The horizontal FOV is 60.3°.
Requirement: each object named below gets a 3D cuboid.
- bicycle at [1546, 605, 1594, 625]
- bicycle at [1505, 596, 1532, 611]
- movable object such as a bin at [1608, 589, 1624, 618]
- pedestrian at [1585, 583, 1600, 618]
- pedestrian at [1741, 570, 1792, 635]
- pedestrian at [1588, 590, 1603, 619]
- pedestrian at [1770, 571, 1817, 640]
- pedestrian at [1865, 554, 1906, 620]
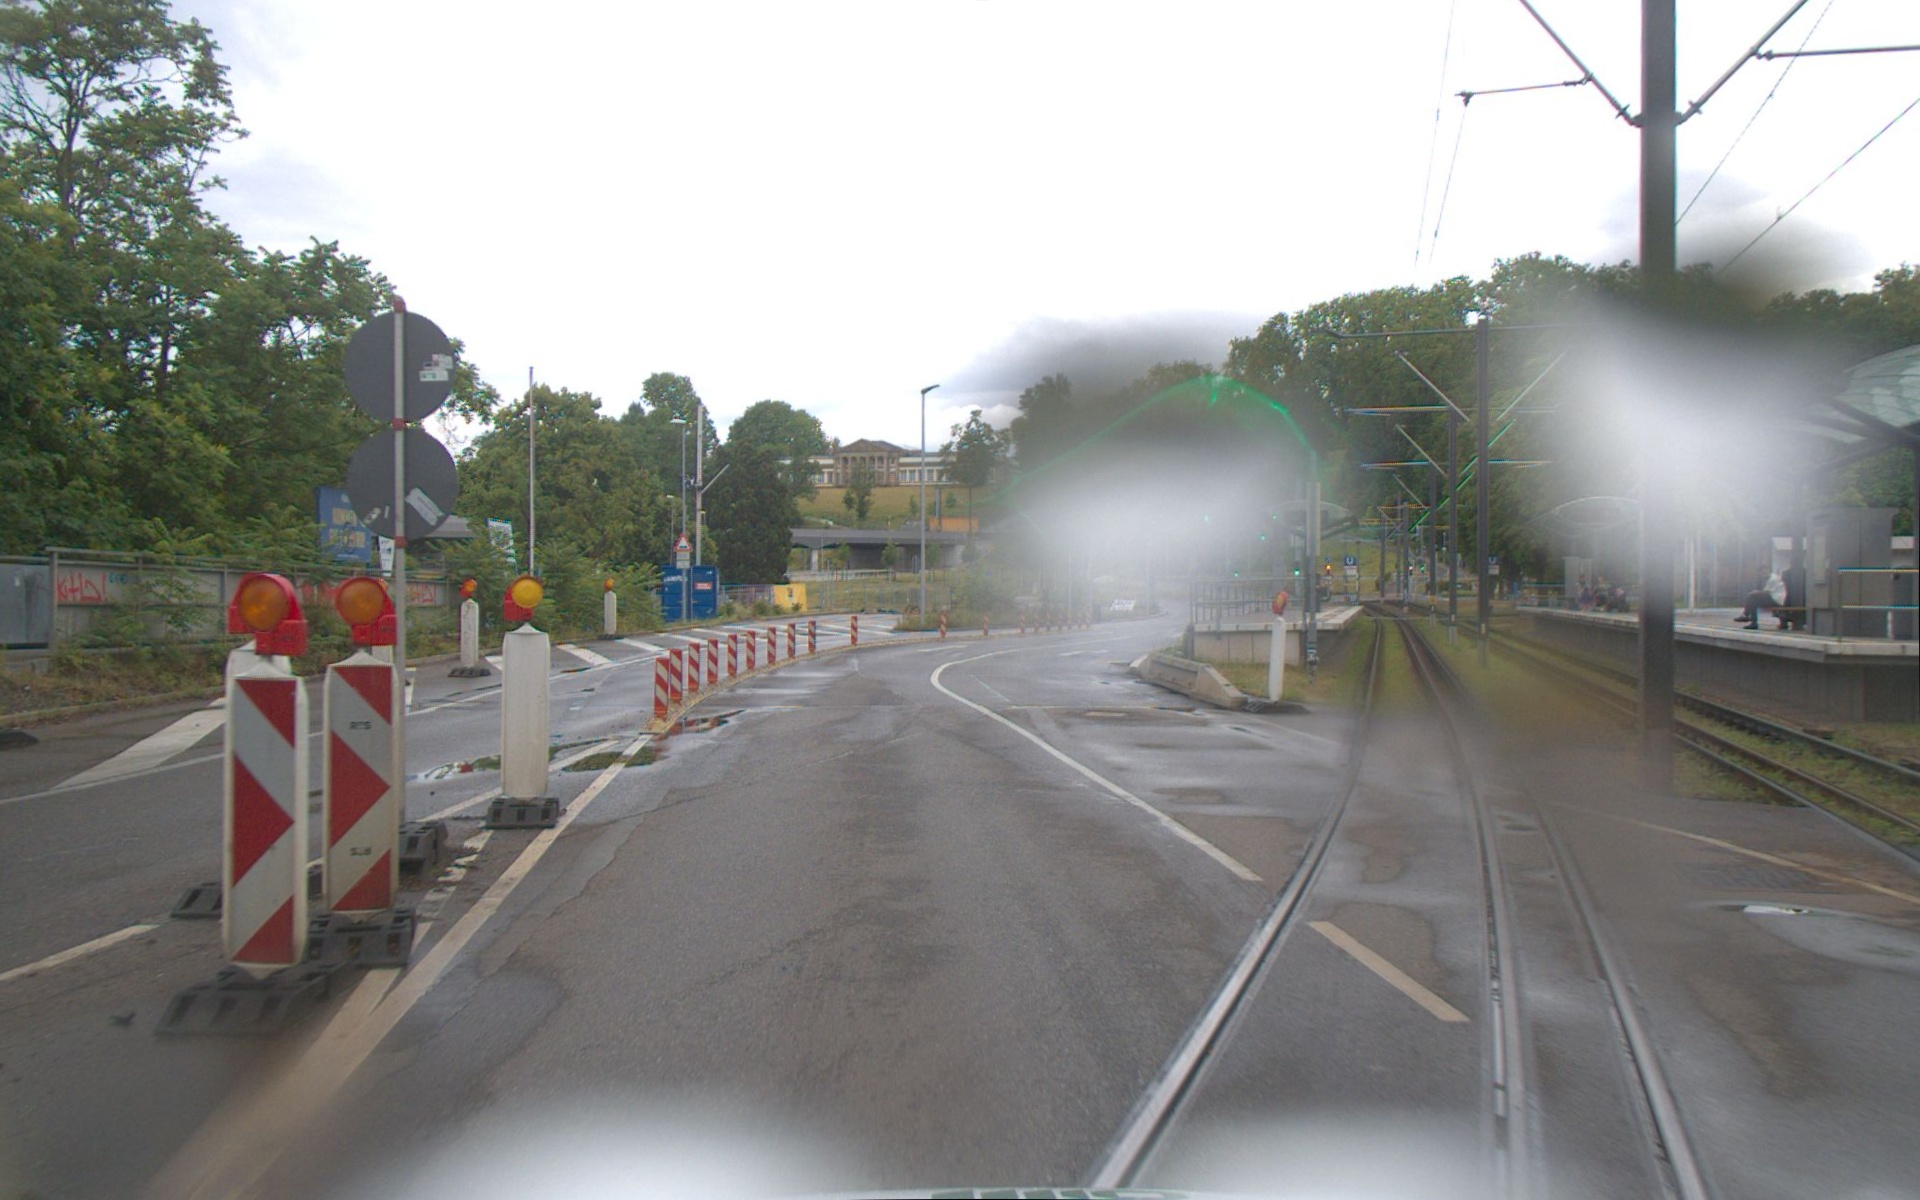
[{"bbox_3d":[31.636,0.773,85.771,2.272,0.974,0.570,-1,0,13],"label":"bicycle"},{"bbox_3d":[40.007,0.239,118.419,1.771,1.050,0.653,-1,0,13],"label":"bicycle"},{"bbox_3d":[23.049,0.128,58.090,0.427,1.026,0.682,-1,0,15],"label":"movable object such as a bin"},{"bbox_3d":[22.598,0.023,59.138,0.427,1.247,0.551,-1,0,15],"label":"pedestrian"},{"bbox_3d":[14.842,0.045,30.448,0.588,1.138,0.520,4,0,-1],"label":"pedestrian"},{"bbox_3d":[22.461,0.156,58.467,0.427,1.026,0.551,-1,0,15],"label":"pedestrian"},{"bbox_3d":[15.655,0.104,31.076,0.508,1.233,0.783,5,0,11],"label":"pedestrian"},{"bbox_3d":[26.243,-0.378,46.891,0.705,1.821,1.183,-1,0,15],"label":"pedestrian"}]
